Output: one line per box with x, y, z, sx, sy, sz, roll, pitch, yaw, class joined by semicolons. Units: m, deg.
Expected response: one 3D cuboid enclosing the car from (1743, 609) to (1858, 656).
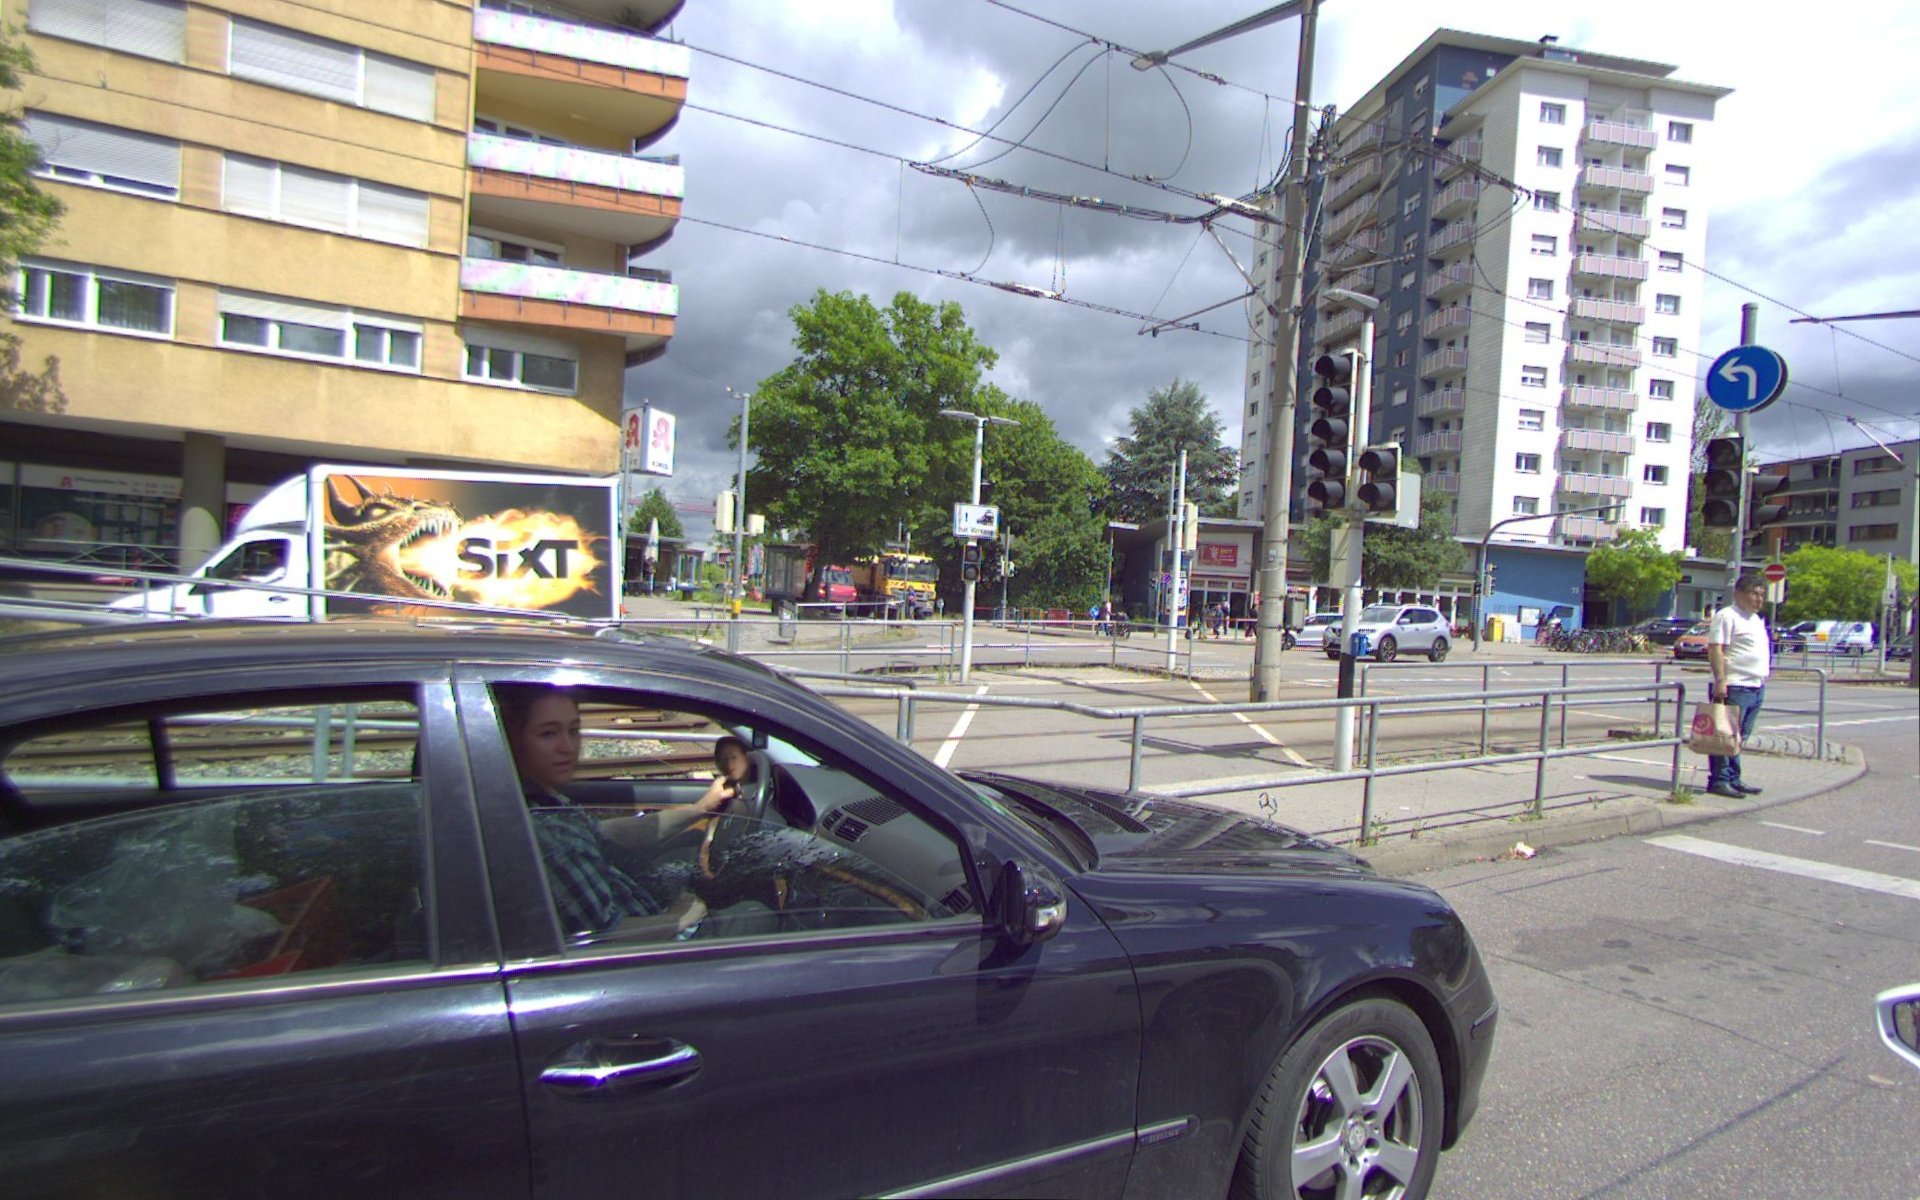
49.816;1.863;59.789;2.776;2.512;6.724;2;0;17;car

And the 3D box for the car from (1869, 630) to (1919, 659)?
50.597;2.371;53.942;4.208;1.433;1.620;1;0;-33;car

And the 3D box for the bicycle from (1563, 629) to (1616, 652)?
27.906;1.794;44.569;0.490;0.947;1.934;2;0;-35;bicycle

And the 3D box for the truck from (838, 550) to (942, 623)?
-3.577;-0.619;49.218;2.733;3.244;7.443;1;0;-23;truck

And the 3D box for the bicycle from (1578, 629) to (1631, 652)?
28.886;1.826;45.052;0.490;0.947;1.934;2;0;-35;bicycle

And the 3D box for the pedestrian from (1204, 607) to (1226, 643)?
12.024;1.177;47.469;0.764;1.636;0.766;7;1;10;pedestrian

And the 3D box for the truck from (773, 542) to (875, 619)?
-6.799;-0.891;48.859;2.692;3.320;8.877;1;0;-22;truck

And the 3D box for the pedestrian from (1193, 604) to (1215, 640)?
11.327;1.006;46.666;0.686;1.637;0.768;1;0;-11;pedestrian

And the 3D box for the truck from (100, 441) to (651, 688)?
-8.922;-0.454;16.191;7.180;3.266;2.402;0;1;-32;truck

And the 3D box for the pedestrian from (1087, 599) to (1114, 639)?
6.074;0.815;43.465;0.977;1.681;0.969;2;-1;-4;pedestrian

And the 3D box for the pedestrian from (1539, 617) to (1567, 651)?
30.459;1.743;51.602;0.928;1.681;1.100;2;-1;13;pedestrian

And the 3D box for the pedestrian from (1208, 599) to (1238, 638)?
13.489;0.954;51.475;1.200;1.942;0.860;1;1;-30;pedestrian

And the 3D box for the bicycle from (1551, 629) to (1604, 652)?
27.057;1.765;44.020;0.490;0.947;1.934;2;0;-35;bicycle

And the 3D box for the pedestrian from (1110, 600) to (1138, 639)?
7.132;0.848;43.683;0.977;1.681;0.969;2;-1;-4;pedestrian

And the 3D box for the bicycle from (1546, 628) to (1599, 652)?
26.646;1.751;43.731;0.490;0.947;1.934;2;0;-35;bicycle

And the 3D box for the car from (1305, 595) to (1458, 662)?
12.390;0.840;29.443;4.462;1.825;1.982;1;-1;-33;car

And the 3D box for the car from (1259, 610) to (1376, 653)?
13.588;1.183;38.356;3.919;1.416;1.699;2;0;9;car

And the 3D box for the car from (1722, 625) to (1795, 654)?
45.480;2.213;57.324;1.754;1.439;4.219;2;0;16;car

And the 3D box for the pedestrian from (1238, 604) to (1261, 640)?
13.365;1.015;46.413;0.693;1.637;0.760;1;1;-43;pedestrian

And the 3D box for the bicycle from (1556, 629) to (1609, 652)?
27.443;1.778;44.292;0.490;0.947;1.934;2;0;-35;bicycle

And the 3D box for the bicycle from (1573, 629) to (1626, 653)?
28.483;1.812;44.778;0.490;0.947;1.934;2;0;-35;bicycle

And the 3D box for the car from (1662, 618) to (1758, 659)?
31.980;1.636;42.810;4.415;1.656;1.981;1;-1;-35;car

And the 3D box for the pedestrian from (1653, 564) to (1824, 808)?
6.282;0.647;8.122;0.734;1.832;0.863;1;1;-33;pedestrian

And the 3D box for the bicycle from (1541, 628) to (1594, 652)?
26.249;1.738;43.418;0.490;0.947;1.934;2;0;-35;bicycle

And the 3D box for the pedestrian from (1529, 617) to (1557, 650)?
30.673;1.755;52.868;0.928;1.681;1.100;2;-1;13;pedestrian

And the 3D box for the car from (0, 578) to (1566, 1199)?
-0.857;0.729;2.142;4.490;1.481;1.720;2;0;-30;car

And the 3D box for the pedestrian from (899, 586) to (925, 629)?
-1.910;0.277;40.002;0.770;1.638;0.759;-1;5;-29;pedestrian
